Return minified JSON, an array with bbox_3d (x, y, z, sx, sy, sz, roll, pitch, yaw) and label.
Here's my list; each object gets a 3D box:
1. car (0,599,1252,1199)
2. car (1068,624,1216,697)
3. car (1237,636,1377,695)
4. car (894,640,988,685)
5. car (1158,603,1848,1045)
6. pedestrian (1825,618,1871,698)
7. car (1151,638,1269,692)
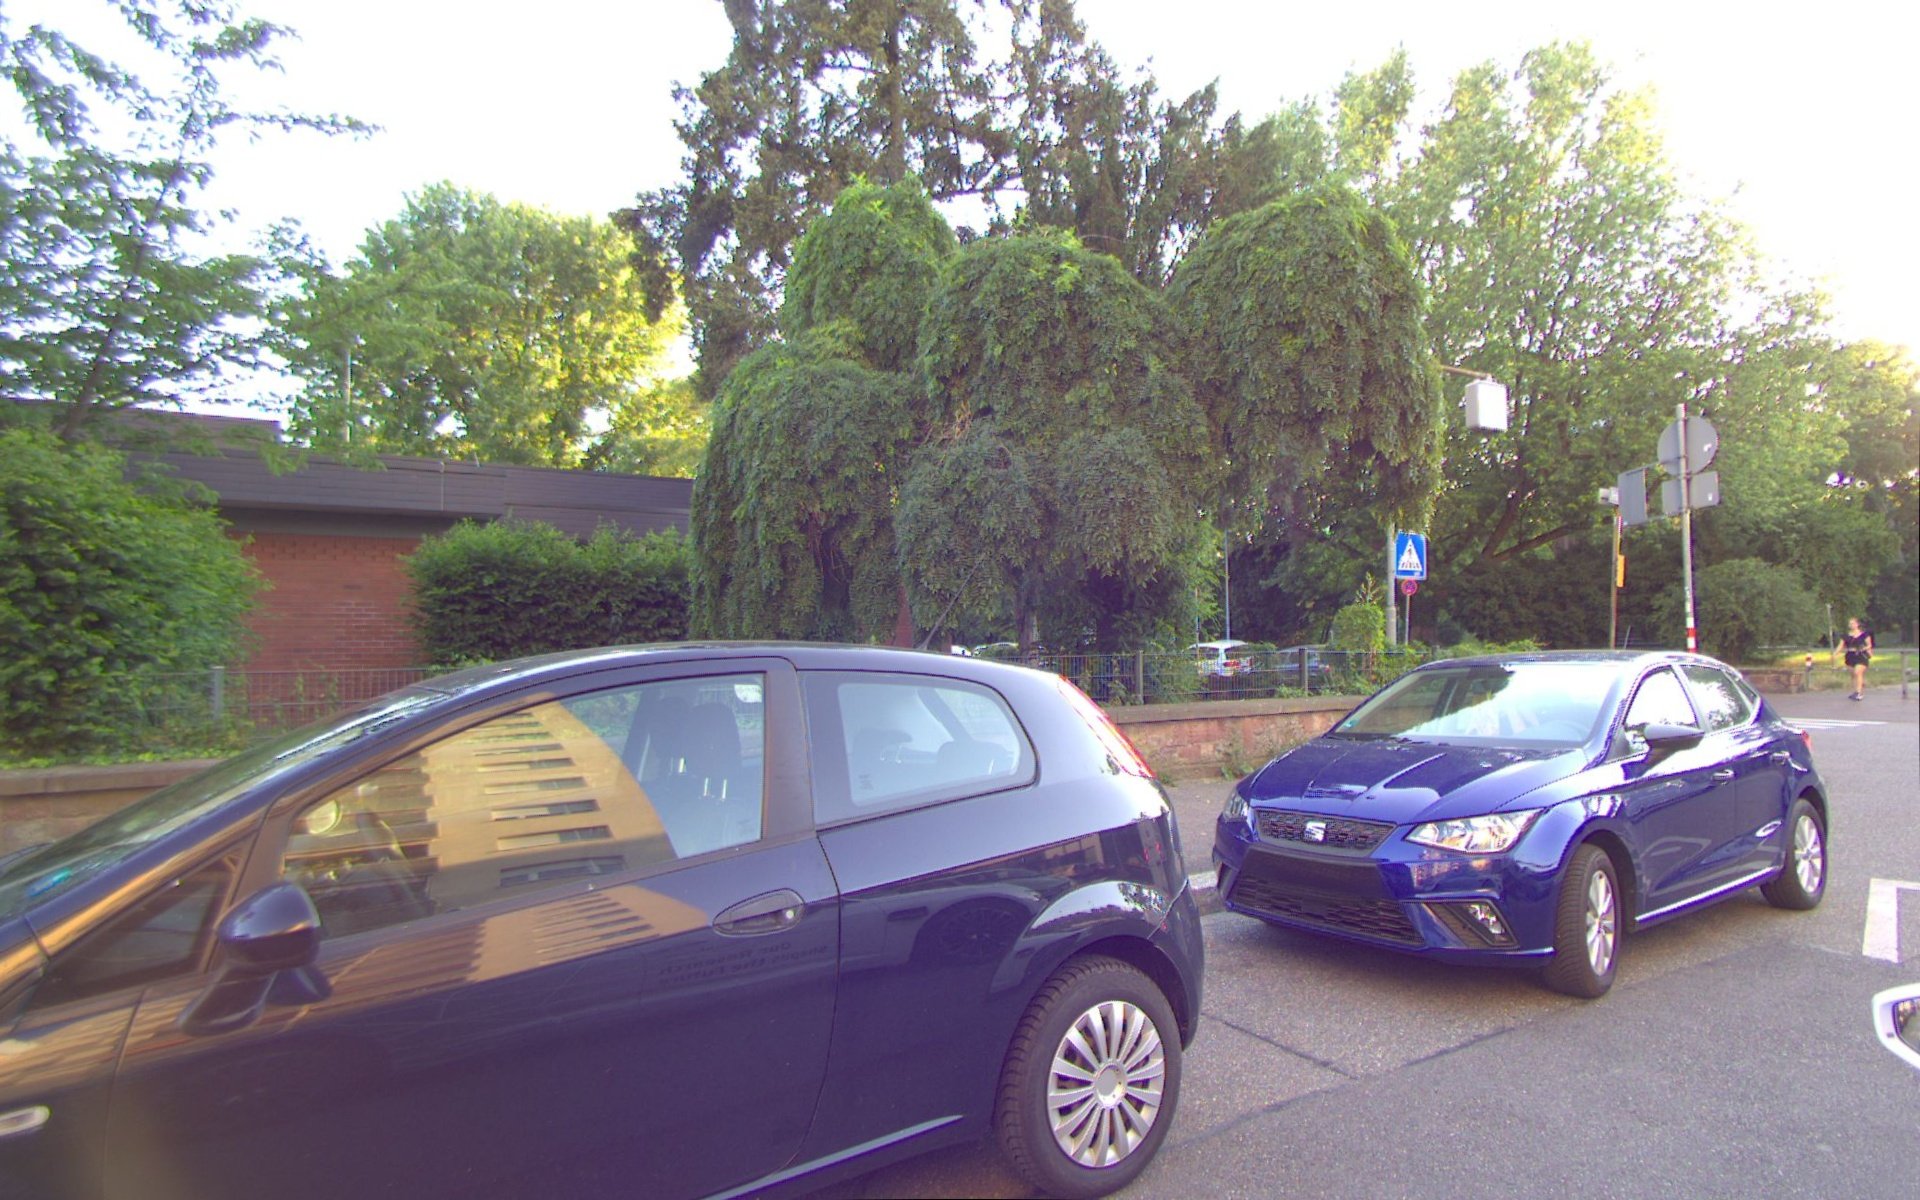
[{"bbox_3d":[-1.148,0.857,2.642,3.659,1.587,1.723,1,-4,-34],"label":"car"},{"bbox_3d":[4.953,1.711,27.886,1.801,1.821,4.212,4,-5,-28],"label":"car"},{"bbox_3d":[10.555,1.983,30.815,1.798,1.511,3.843,-6,0,-24],"label":"car"},{"bbox_3d":[-0.797,2.385,38.209,1.801,1.564,4.212,4,-5,-28],"label":"car"},{"bbox_3d":[3.042,0.884,5.425,3.752,1.587,1.723,1,-4,-35],"label":"car"},{"bbox_3d":[18.983,1.218,21.466,0.668,1.671,0.641,0,0,-38],"label":"pedestrian"},{"bbox_3d":[8.674,2.252,35.187,1.800,1.583,3.856,-6,0,-27],"label":"car"}]
